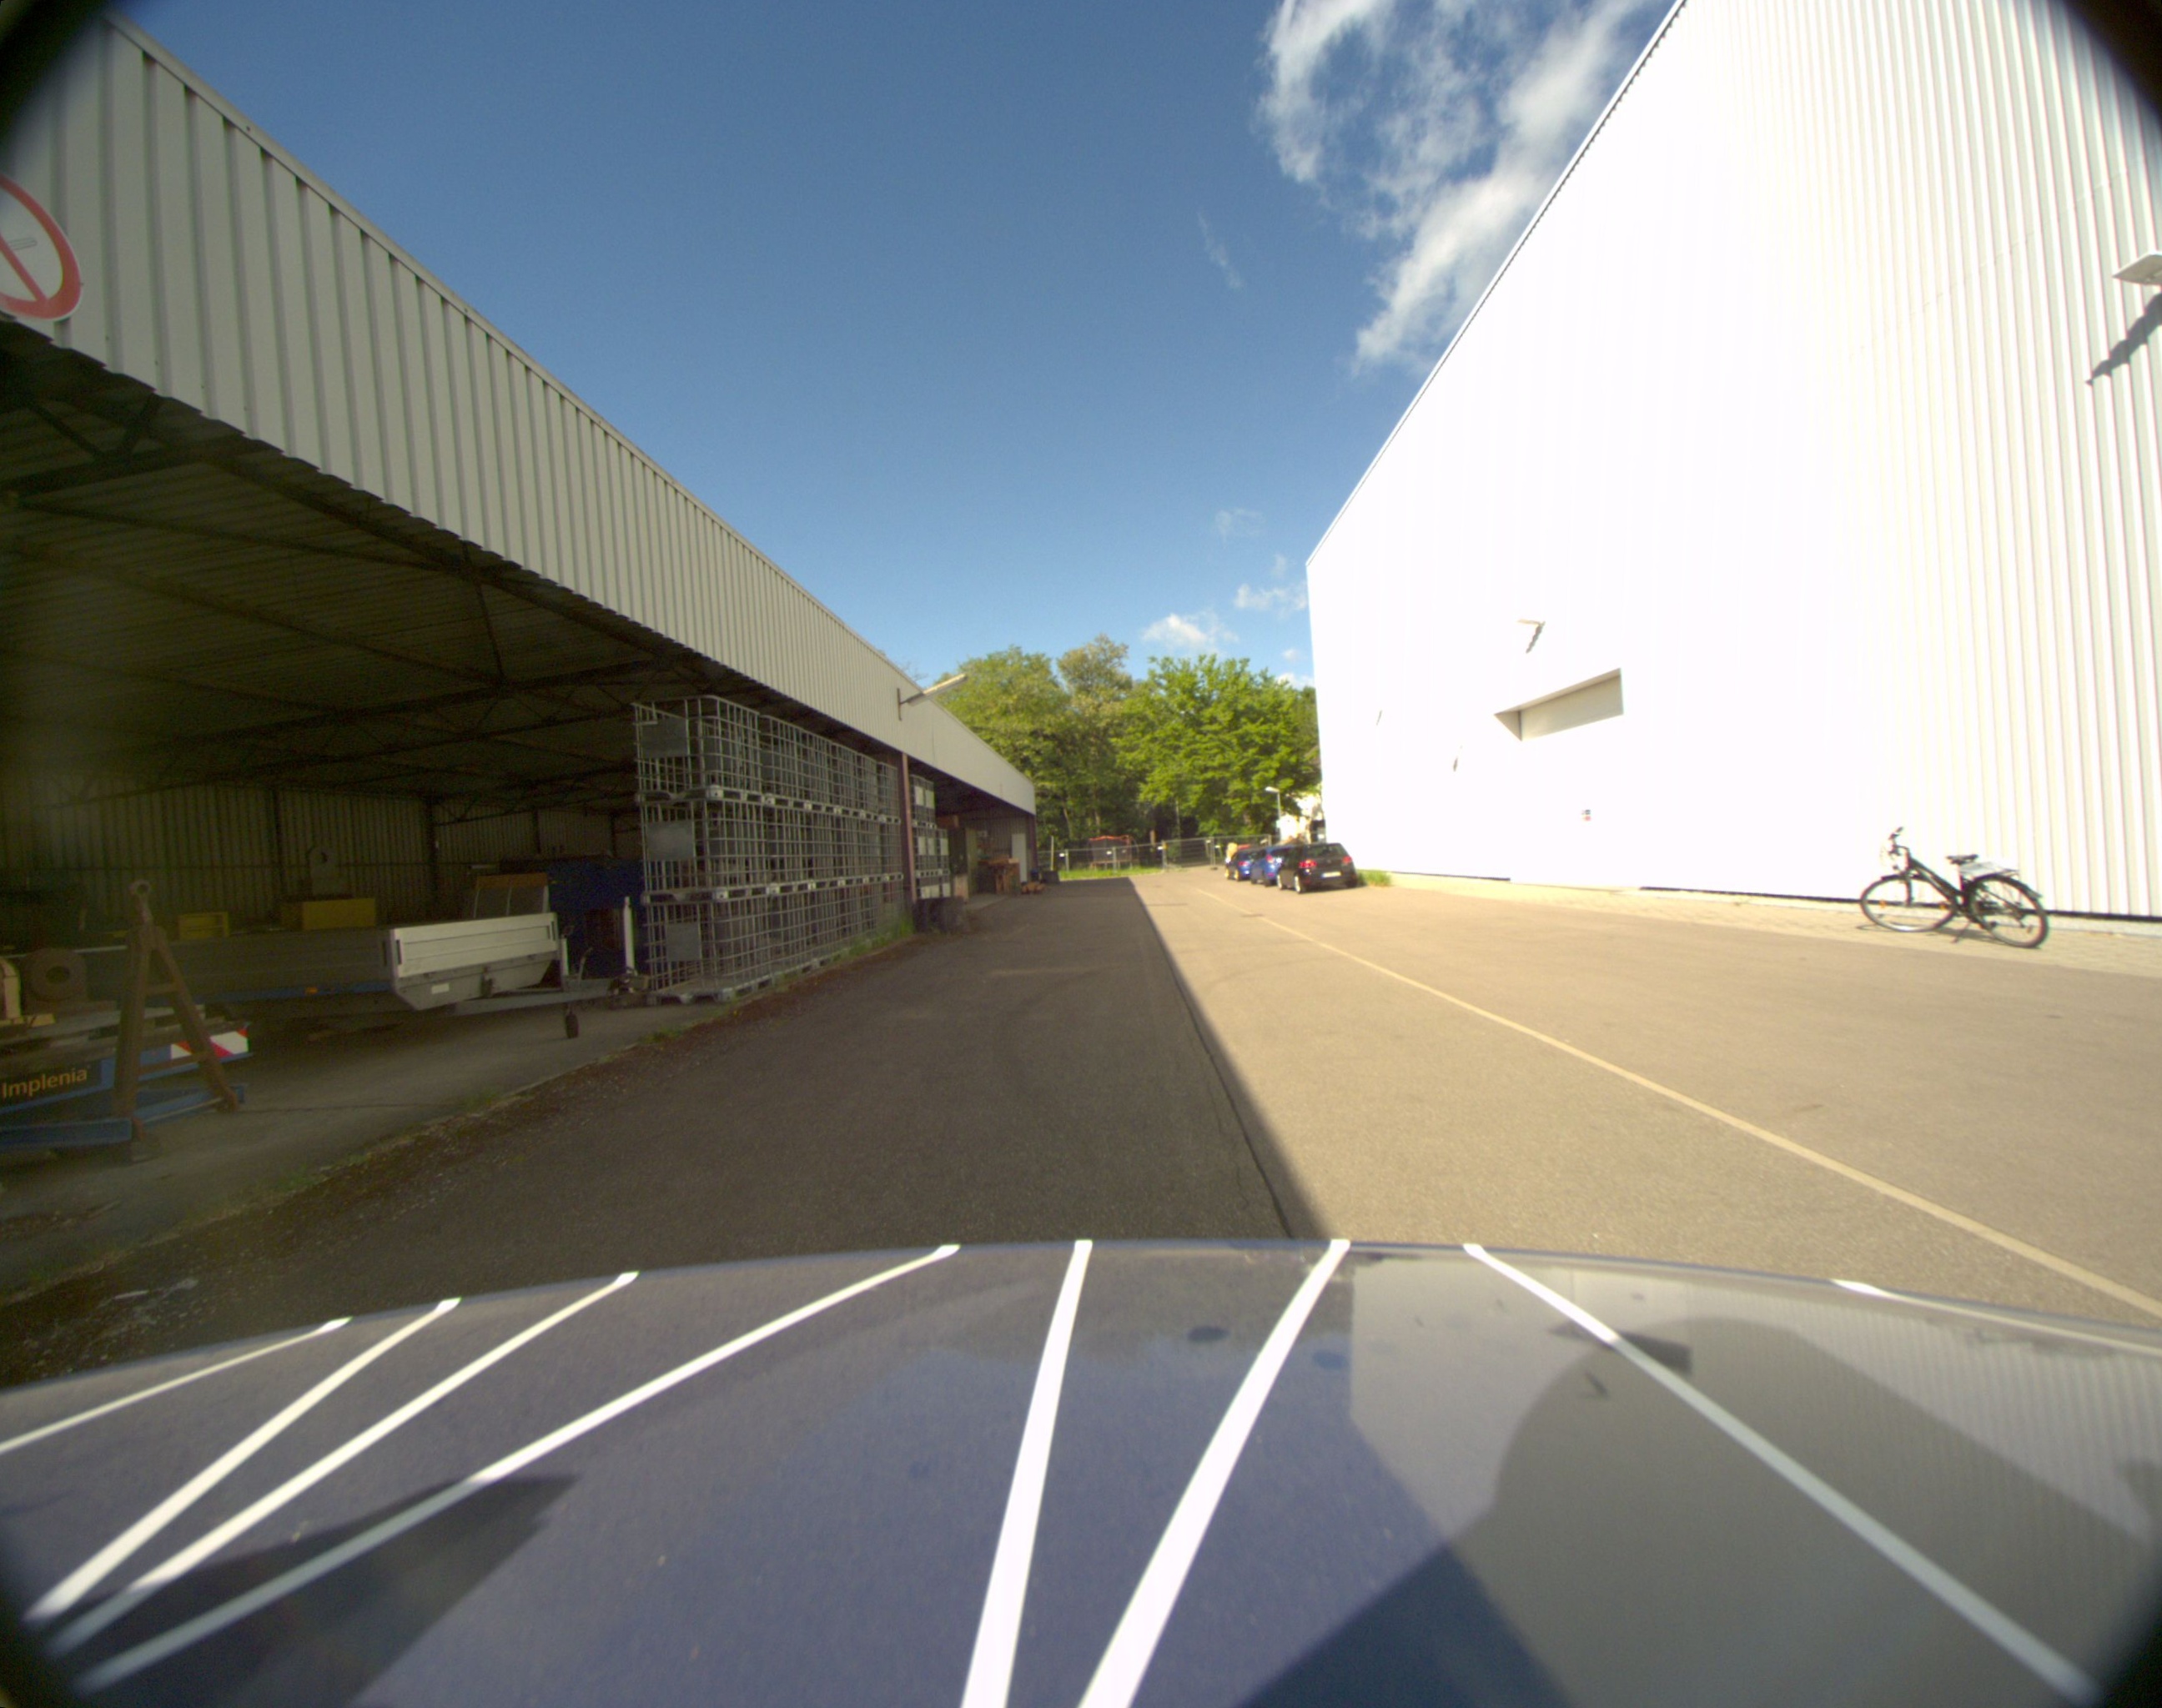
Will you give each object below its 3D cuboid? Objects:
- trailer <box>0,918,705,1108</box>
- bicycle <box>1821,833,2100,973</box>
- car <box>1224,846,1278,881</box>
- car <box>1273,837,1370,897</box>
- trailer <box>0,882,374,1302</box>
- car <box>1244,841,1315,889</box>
[{"bbox_3d":[-6.914,1.376,7.010,5.836,1.113,2.029,-3,0,2],"label":"trailer"},{"bbox_3d":[8.673,0.421,7.655,0.909,1.136,1.901,-7,0,18],"label":"bicycle"},{"bbox_3d":[7.619,0.392,34.405,1.789,1.431,4.001,-3,0,4],"label":"car"},{"bbox_3d":[7.357,0.368,23.652,1.895,1.513,4.001,-7,0,4],"label":"car"},{"bbox_3d":[-6.798,1.112,3.651,4.879,1.619,2.029,-3,0,2],"label":"trailer"},{"bbox_3d":[7.470,0.373,28.904,1.789,1.513,4.001,-7,0,4],"label":"car"}]
